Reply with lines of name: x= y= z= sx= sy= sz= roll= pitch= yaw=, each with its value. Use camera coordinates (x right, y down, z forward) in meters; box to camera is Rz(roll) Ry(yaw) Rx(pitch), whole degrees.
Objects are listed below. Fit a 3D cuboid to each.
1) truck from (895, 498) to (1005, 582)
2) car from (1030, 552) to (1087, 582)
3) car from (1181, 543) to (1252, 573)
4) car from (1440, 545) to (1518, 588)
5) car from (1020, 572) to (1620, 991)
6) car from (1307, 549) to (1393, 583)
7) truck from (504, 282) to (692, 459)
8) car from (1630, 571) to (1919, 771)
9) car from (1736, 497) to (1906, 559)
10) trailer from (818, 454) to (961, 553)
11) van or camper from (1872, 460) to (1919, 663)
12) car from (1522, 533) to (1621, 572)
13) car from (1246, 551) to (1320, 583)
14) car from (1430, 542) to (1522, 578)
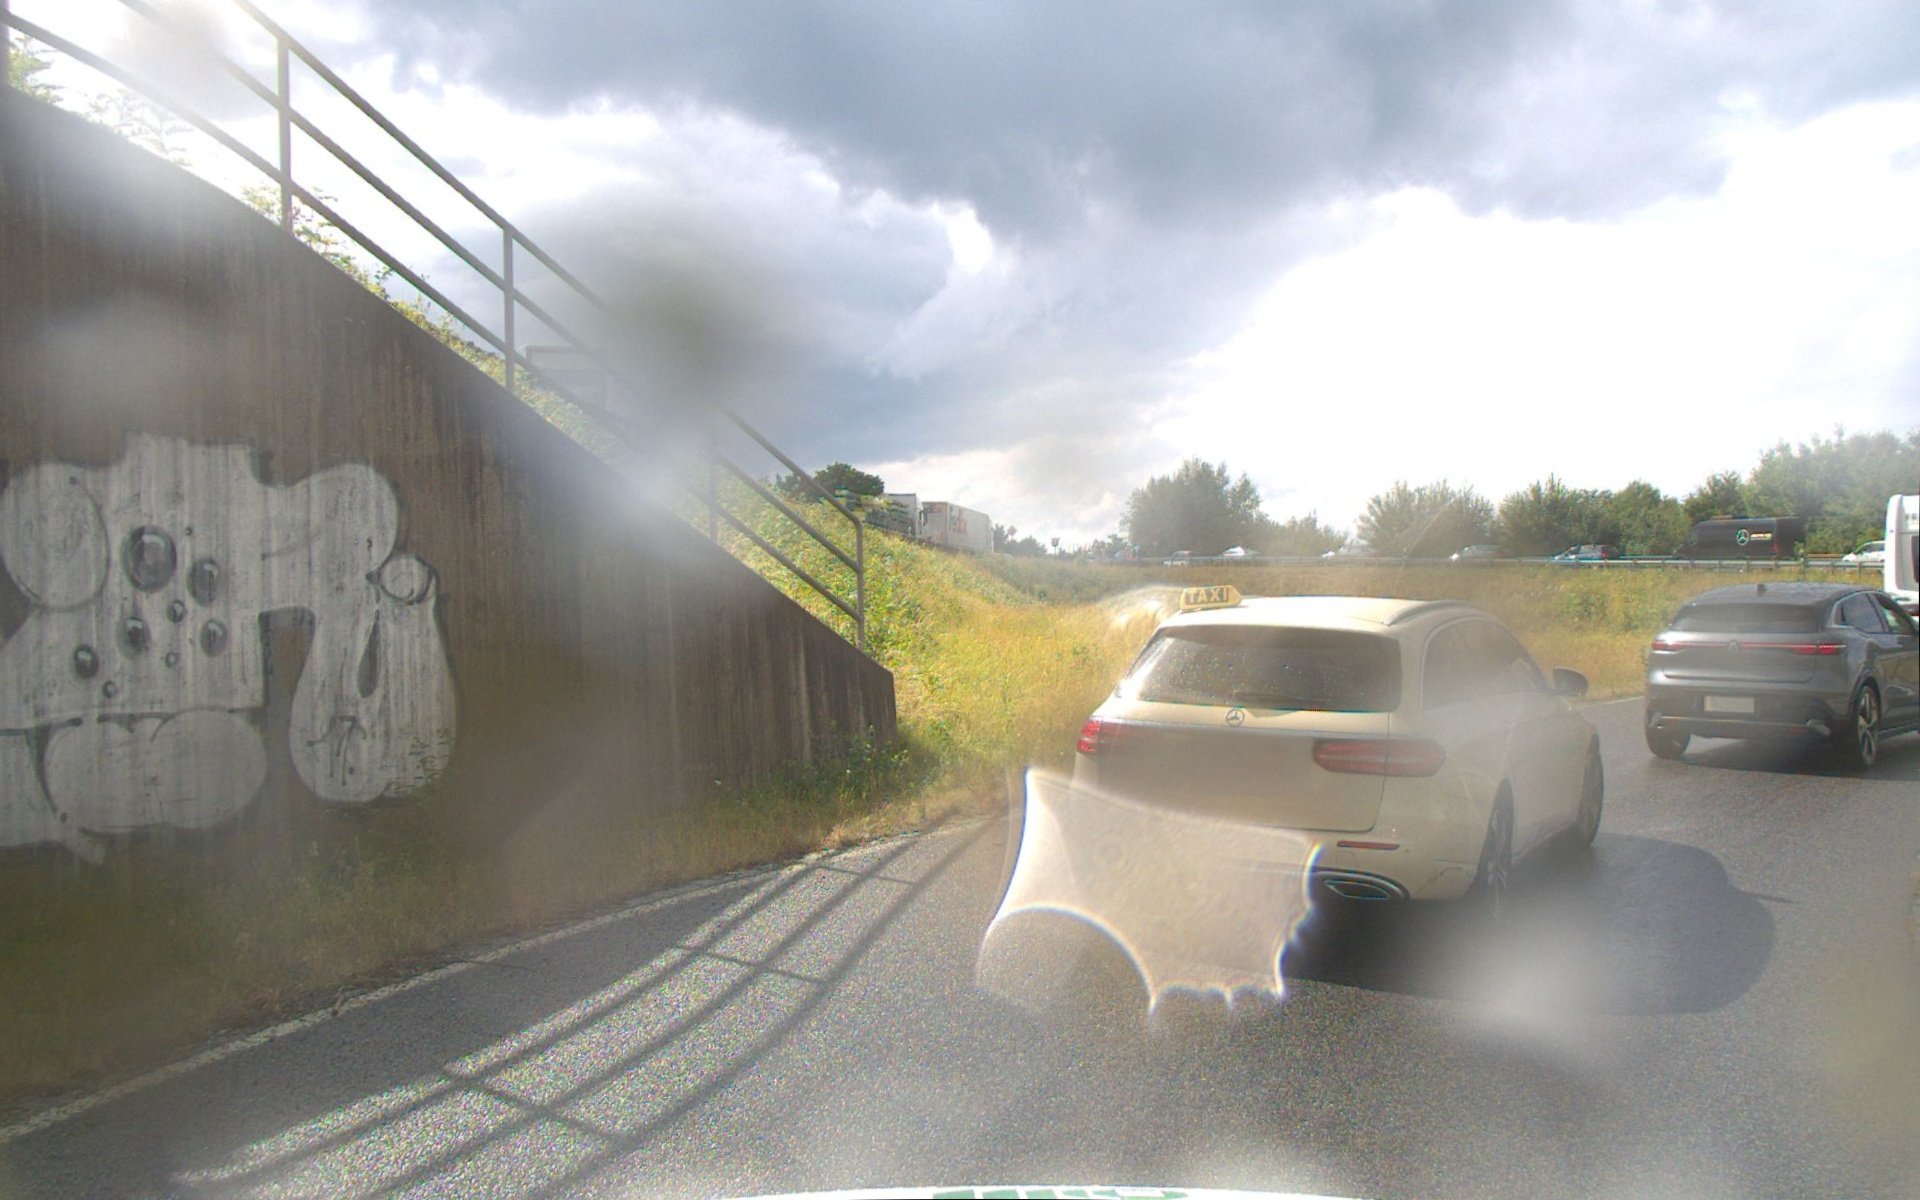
truck: x=-0.417 y=-4.071 z=119.498 sx=4.365 sy=4.582 sz=19.389 roll=0 pitch=-2 yaw=10
car: x=6.945 y=-2.315 z=116.353 sx=3.903 sy=2.049 sz=1.828 roll=0 pitch=-2 yaw=5
car: x=18.270 y=-2.997 z=118.025 sx=1.979 sy=1.894 sz=4.989 roll=0 pitch=-1 yaw=-37
car: x=30.853 y=-1.961 z=98.399 sx=1.979 sy=2.049 sz=3.946 roll=2 pitch=-7 yaw=-37
car: x=2.167 y=0.656 z=8.646 sx=1.879 sy=1.533 sz=4.589 roll=2 pitch=1 yaw=28
car: x=24.571 y=-2.124 z=104.385 sx=4.971 sy=1.894 sz=1.986 roll=-2 pitch=-1 yaw=44
truck: x=-11.305 y=-7.072 z=52.772 sx=3.113 sy=4.036 sz=9.241 roll=0 pitch=-2 yaw=5
car: x=7.680 y=0.545 z=14.921 sx=1.694 sy=1.551 sz=3.973 roll=-1 pitch=0 yaw=44
car: x=40.857 y=-3.390 z=78.707 sx=2.829 sy=2.640 sz=6.930 roll=-2 pitch=1 yaw=-24
trailer: x=-3.855 y=-5.552 z=100.283 sx=4.319 sy=4.026 sz=20.232 roll=0 pitch=-2 yaw=10
van or camper: x=15.736 y=-0.539 z=24.155 sx=5.948 sy=2.777 sz=2.402 roll=0 pitch=0 yaw=-42
car: x=34.475 y=-2.656 z=93.350 sx=1.977 sy=1.894 sz=4.995 roll=-1 pitch=-1 yaw=-35
car: x=21.586 y=-2.179 z=110.530 sx=4.421 sy=1.894 sz=1.992 roll=-2 pitch=-1 yaw=37
car: x=30.730 y=-2.334 z=98.628 sx=1.979 sy=1.894 sz=4.990 roll=0 pitch=-1 yaw=-37
